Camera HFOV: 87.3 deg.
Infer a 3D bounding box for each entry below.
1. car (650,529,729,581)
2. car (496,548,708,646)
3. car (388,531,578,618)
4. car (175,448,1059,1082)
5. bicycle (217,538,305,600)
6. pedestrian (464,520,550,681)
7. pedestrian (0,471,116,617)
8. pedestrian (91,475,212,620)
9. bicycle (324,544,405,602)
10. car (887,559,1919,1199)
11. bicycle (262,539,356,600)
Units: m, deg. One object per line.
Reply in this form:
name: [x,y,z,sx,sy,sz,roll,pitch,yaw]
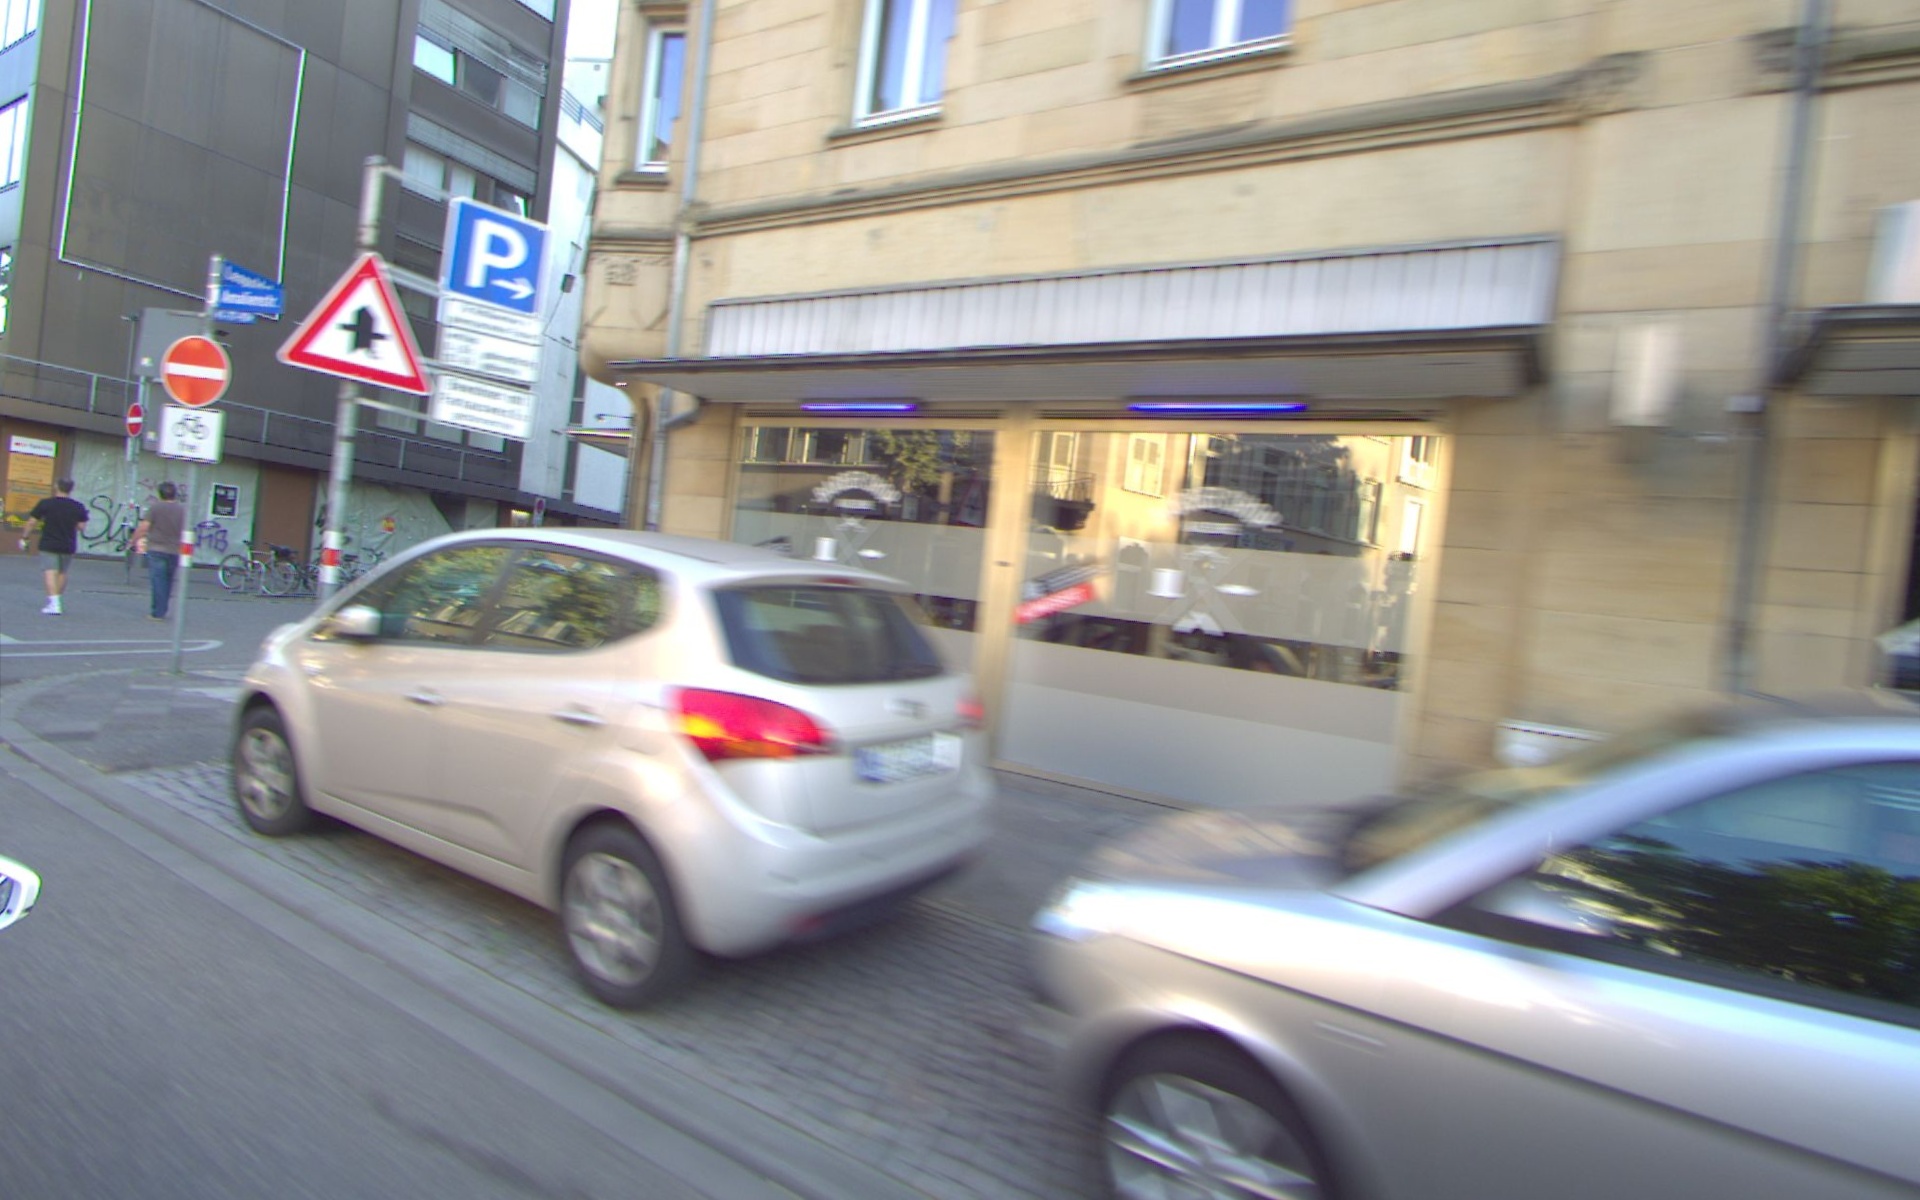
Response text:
car: [-10.907,-1.794,40.785,1.593,1.634,3.490,7,-1,10]
car: [-6.936,0.025,20.145,1.892,1.506,4.692,8,-1,8]
car: [-11.314,-0.530,24.255,1.962,1.600,4.255,8,-1,8]
car: [-1.763,0.392,4.740,3.934,1.792,1.698,7,1,32]
bicycle: [-14.134,-0.625,20.344,1.658,1.043,0.415,7,2,14]
pedestrian: [-5.023,0.013,11.175,0.576,1.686,0.423,7,0,-3]
pedestrian: [-11.463,-0.704,12.700,1.238,1.660,0.756,7,0,32]
pedestrian: [-10.916,-0.707,13.579,1.202,1.788,0.756,7,0,32]
bicycle: [-13.643,-0.614,23.053,1.658,1.107,0.416,8,0,11]
car: [1.957,0.920,2.231,3.936,1.581,1.680,7,2,35]
bicycle: [-14.007,-0.656,21.651,1.742,1.051,0.415,9,2,6]
